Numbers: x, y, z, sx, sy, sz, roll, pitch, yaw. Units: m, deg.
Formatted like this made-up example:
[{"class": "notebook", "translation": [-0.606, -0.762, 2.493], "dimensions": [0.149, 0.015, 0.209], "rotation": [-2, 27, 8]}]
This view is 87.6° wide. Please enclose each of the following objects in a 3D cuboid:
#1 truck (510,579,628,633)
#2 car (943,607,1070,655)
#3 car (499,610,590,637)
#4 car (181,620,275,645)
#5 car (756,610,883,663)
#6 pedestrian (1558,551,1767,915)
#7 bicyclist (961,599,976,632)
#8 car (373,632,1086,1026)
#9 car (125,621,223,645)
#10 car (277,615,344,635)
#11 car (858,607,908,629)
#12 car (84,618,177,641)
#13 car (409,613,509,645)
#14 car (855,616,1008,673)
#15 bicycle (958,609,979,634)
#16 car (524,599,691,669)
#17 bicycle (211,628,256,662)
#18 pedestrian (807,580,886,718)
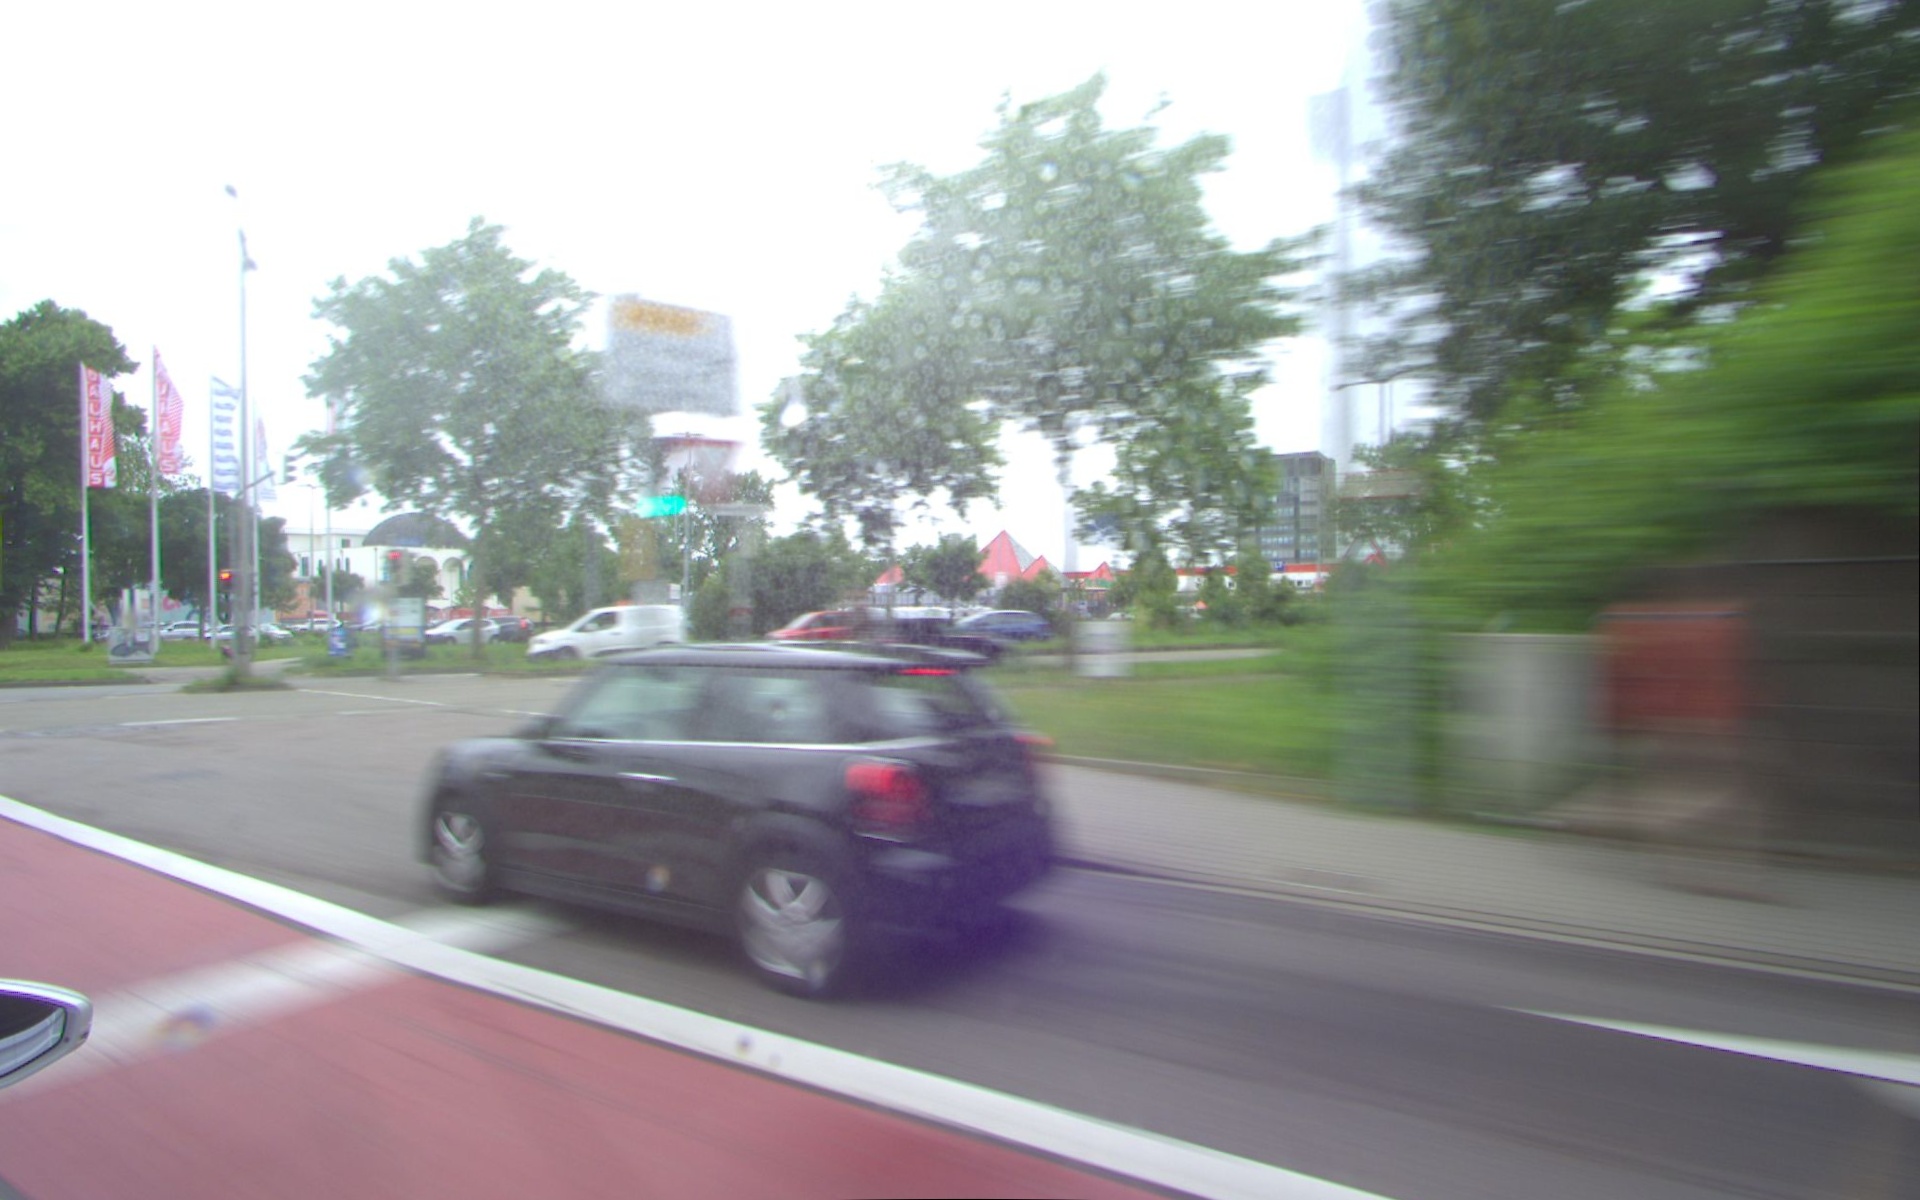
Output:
[{"class": "truck", "translation": [-28.256, 0.558, 72.172], "dimensions": [9.113, 3.609, 2.937], "rotation": [-2, -2, 30]}, {"class": "car", "translation": [1.582, 1.021, 34.023], "dimensions": [4.001, 1.502, 1.690], "rotation": [-1, 0, -25]}, {"class": "car", "translation": [-23.957, 1.374, 57.882], "dimensions": [4.526, 1.516, 1.931], "rotation": [0, -2, -9]}, {"class": "car", "translation": [-46.233, 2.081, 63.317], "dimensions": [1.900, 1.516, 4.445], "rotation": [-1, -2, 26]}, {"class": "car", "translation": [-4.414, 1.117, 31.501], "dimensions": [3.630, 1.552, 1.690], "rotation": [-1, 0, -25]}, {"class": "pedestrian", "translation": [3.847, 0.657, 5.479], "dimensions": [0.866, 1.783, 0.780], "rotation": [-1, 0, -43]}, {"class": "bicyclist", "translation": [0.402, 0.723, 47.441], "dimensions": [0.571, 1.540, 0.759], "rotation": [-1, 1, -13]}, {"class": "car", "translation": [-1.362, 0.907, 5.435], "dimensions": [3.721, 1.450, 1.676], "rotation": [-1, -2, 33]}, {"class": "car", "translation": [-51.994, 2.233, 66.350], "dimensions": [2.137, 1.516, 4.672], "rotation": [-1, -3, 29]}, {"class": "car", "translation": [-57.431, 2.200, 88.588], "dimensions": [2.120, 1.699, 4.552], "rotation": [-1, 0, 25]}, {"class": "car", "translation": [-6.356, 1.498, 82.854], "dimensions": [2.121, 1.699, 4.551], "rotation": [-1, 0, 26]}, {"class": "car", "translation": [-57.070, 2.045, 68.999], "dimensions": [1.928, 1.516, 4.532], "rotation": [-1, -3, 26]}, {"class": "car", "translation": [-25.232, 1.495, 50.598], "dimensions": [1.901, 1.516, 4.222], "rotation": [-1, -2, 27]}, {"class": "car", "translation": [-0.671, 1.072, 24.396], "dimensions": [3.373, 1.297, 1.643], "rotation": [1, -1, -32]}, {"class": "bicycle", "translation": [0.403, 1.005, 47.481], "dimensions": [0.571, 1.164, 1.892], "rotation": [-1, 0, -13]}, {"class": "car", "translation": [-10.177, 0.960, 28.947], "dimensions": [4.353, 1.852, 1.873], "rotation": [-1, -2, -27]}, {"class": "bicycle", "translation": [-25.948, 1.589, 35.811], "dimensions": [0.479, 1.132, 1.806], "rotation": [-1, 0, -7]}, {"class": "pedestrian", "translation": [-1.436, 0.601, 12.633], "dimensions": [0.733, 1.661, 0.774], "rotation": [-1, 0, -30]}]
